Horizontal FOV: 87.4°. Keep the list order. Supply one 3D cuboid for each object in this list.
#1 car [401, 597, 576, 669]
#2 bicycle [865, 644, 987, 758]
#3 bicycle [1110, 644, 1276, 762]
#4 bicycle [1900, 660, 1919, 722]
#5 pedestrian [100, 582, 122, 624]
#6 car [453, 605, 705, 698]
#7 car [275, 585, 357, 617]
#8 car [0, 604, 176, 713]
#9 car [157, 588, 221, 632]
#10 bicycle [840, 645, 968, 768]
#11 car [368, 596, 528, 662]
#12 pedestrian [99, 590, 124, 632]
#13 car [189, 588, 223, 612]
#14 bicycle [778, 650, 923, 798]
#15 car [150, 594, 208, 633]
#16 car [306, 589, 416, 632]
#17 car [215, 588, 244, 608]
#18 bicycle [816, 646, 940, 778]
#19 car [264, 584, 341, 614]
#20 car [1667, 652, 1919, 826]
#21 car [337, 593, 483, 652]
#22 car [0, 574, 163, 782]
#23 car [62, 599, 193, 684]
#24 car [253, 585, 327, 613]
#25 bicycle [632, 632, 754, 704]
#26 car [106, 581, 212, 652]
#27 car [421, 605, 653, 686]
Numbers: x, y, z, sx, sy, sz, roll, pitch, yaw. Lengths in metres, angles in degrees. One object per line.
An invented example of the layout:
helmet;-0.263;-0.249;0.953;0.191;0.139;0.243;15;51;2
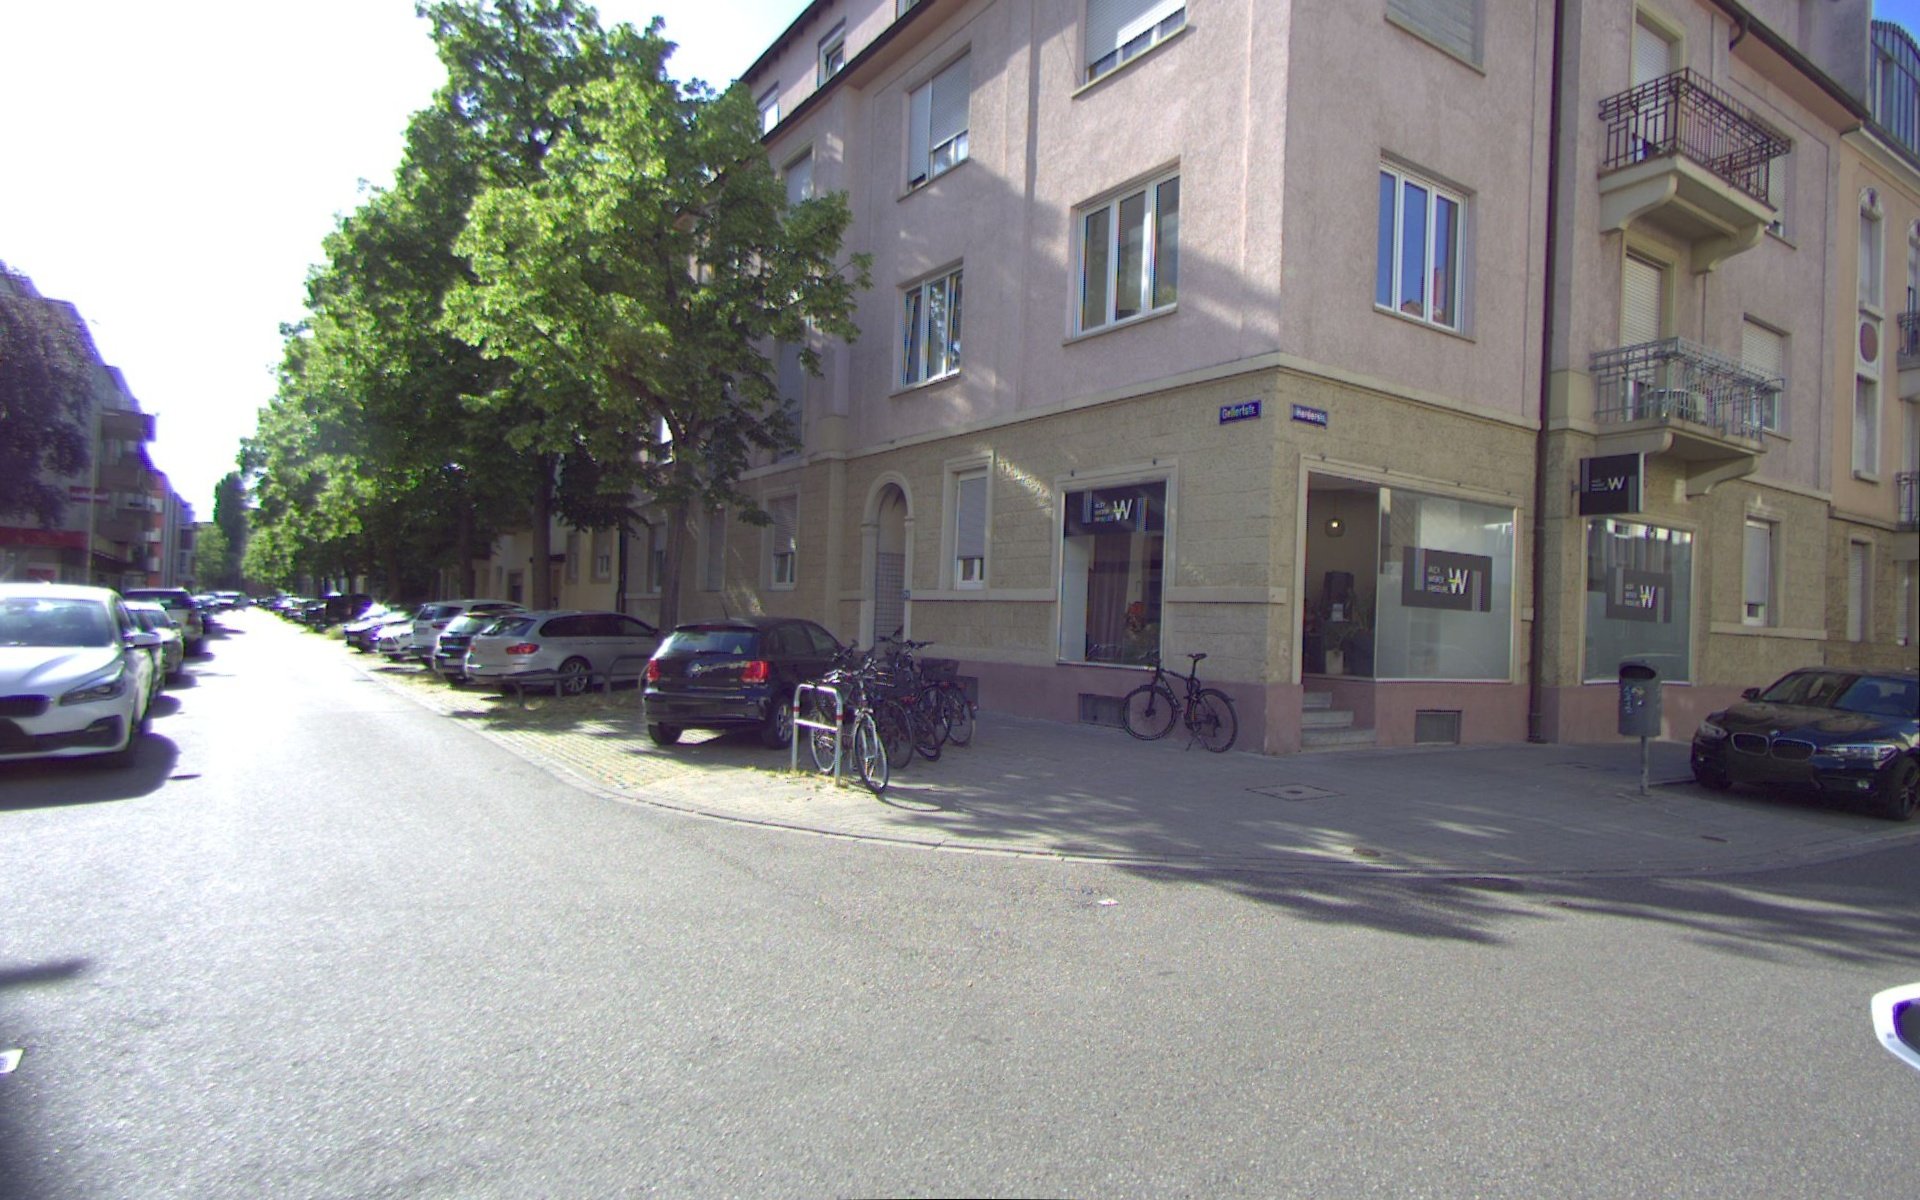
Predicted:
car;-11.734;0.792;25.138;1.680;1.630;3.590;2;0;42
bicycle;-0.438;1.125;11.746;0.520;1.150;1.887;1;0;-33
bicycle;2.663;1.141;11.673;0.642;1.151;1.884;1;1;-38
bicycle;21.297;1.996;21.985;1.845;1.319;0.538;3;0;-31
pedestrian;-39.255;0.129;46.451;0.655;1.928;0.521;3;-1;-36
car;-6.836;0.910;18.509;1.674;1.458;4.207;1;-1;30
car;-36.233;0.082;56.555;1.680;1.690;3.590;2;0;42
car;-12.597;0.766;14.697;1.712;1.327;4.166;2;-1;-38
car;-34.187;0.433;44.561;2.090;1.789;4.461;2;-1;-38
bicycle;-0.651;1.105;10.950;0.520;1.150;1.887;1;0;-33
car;-14.186;0.781;27.956;1.680;1.690;3.590;2;0;42
pedestrian;-33.489;0.435;39.667;0.655;1.662;0.521;3;-1;-36
car;-60.810;0.003;81.015;2.090;1.789;4.461;2;-1;-38
bicycle;-1.060;1.071;9.291;0.640;1.150;1.890;1;-1;-29
car;-37.923;0.621;48.805;2.090;1.789;4.461;2;-1;-38
car;-24.838;0.443;41.716;1.680;1.690;3.590;2;0;42
car;-69.058;-0.221;94.928;2.090;1.789;4.461;2;-1;-38
bicycle;-0.887;1.087;10.339;0.520;1.150;1.889;1;0;-29
car;-39.822;-0.036;60.866;1.680;1.690;3.590;2;0;42
car;9.724;1.425;10.913;4.224;1.445;1.671;4;0;-30
car;-16.996;0.687;31.149;1.680;1.690;3.590;2;0;42
car;-8.768;0.600;9.571;1.712;1.614;4.400;2;-1;-38
car;-15.727;0.722;19.144;1.712;1.423;4.166;2;-1;-38
car;-42.257;-0.050;63.372;1.680;1.690;3.590;2;0;42
bicycle;-4.343;1.084;16.420;1.877;1.078;0.499;1;2;-40
car;-22.115;0.444;27.845;2.090;1.789;4.461;2;-1;-38
car;-8.500;0.902;20.571;1.674;1.445;4.207;1;-1;30
